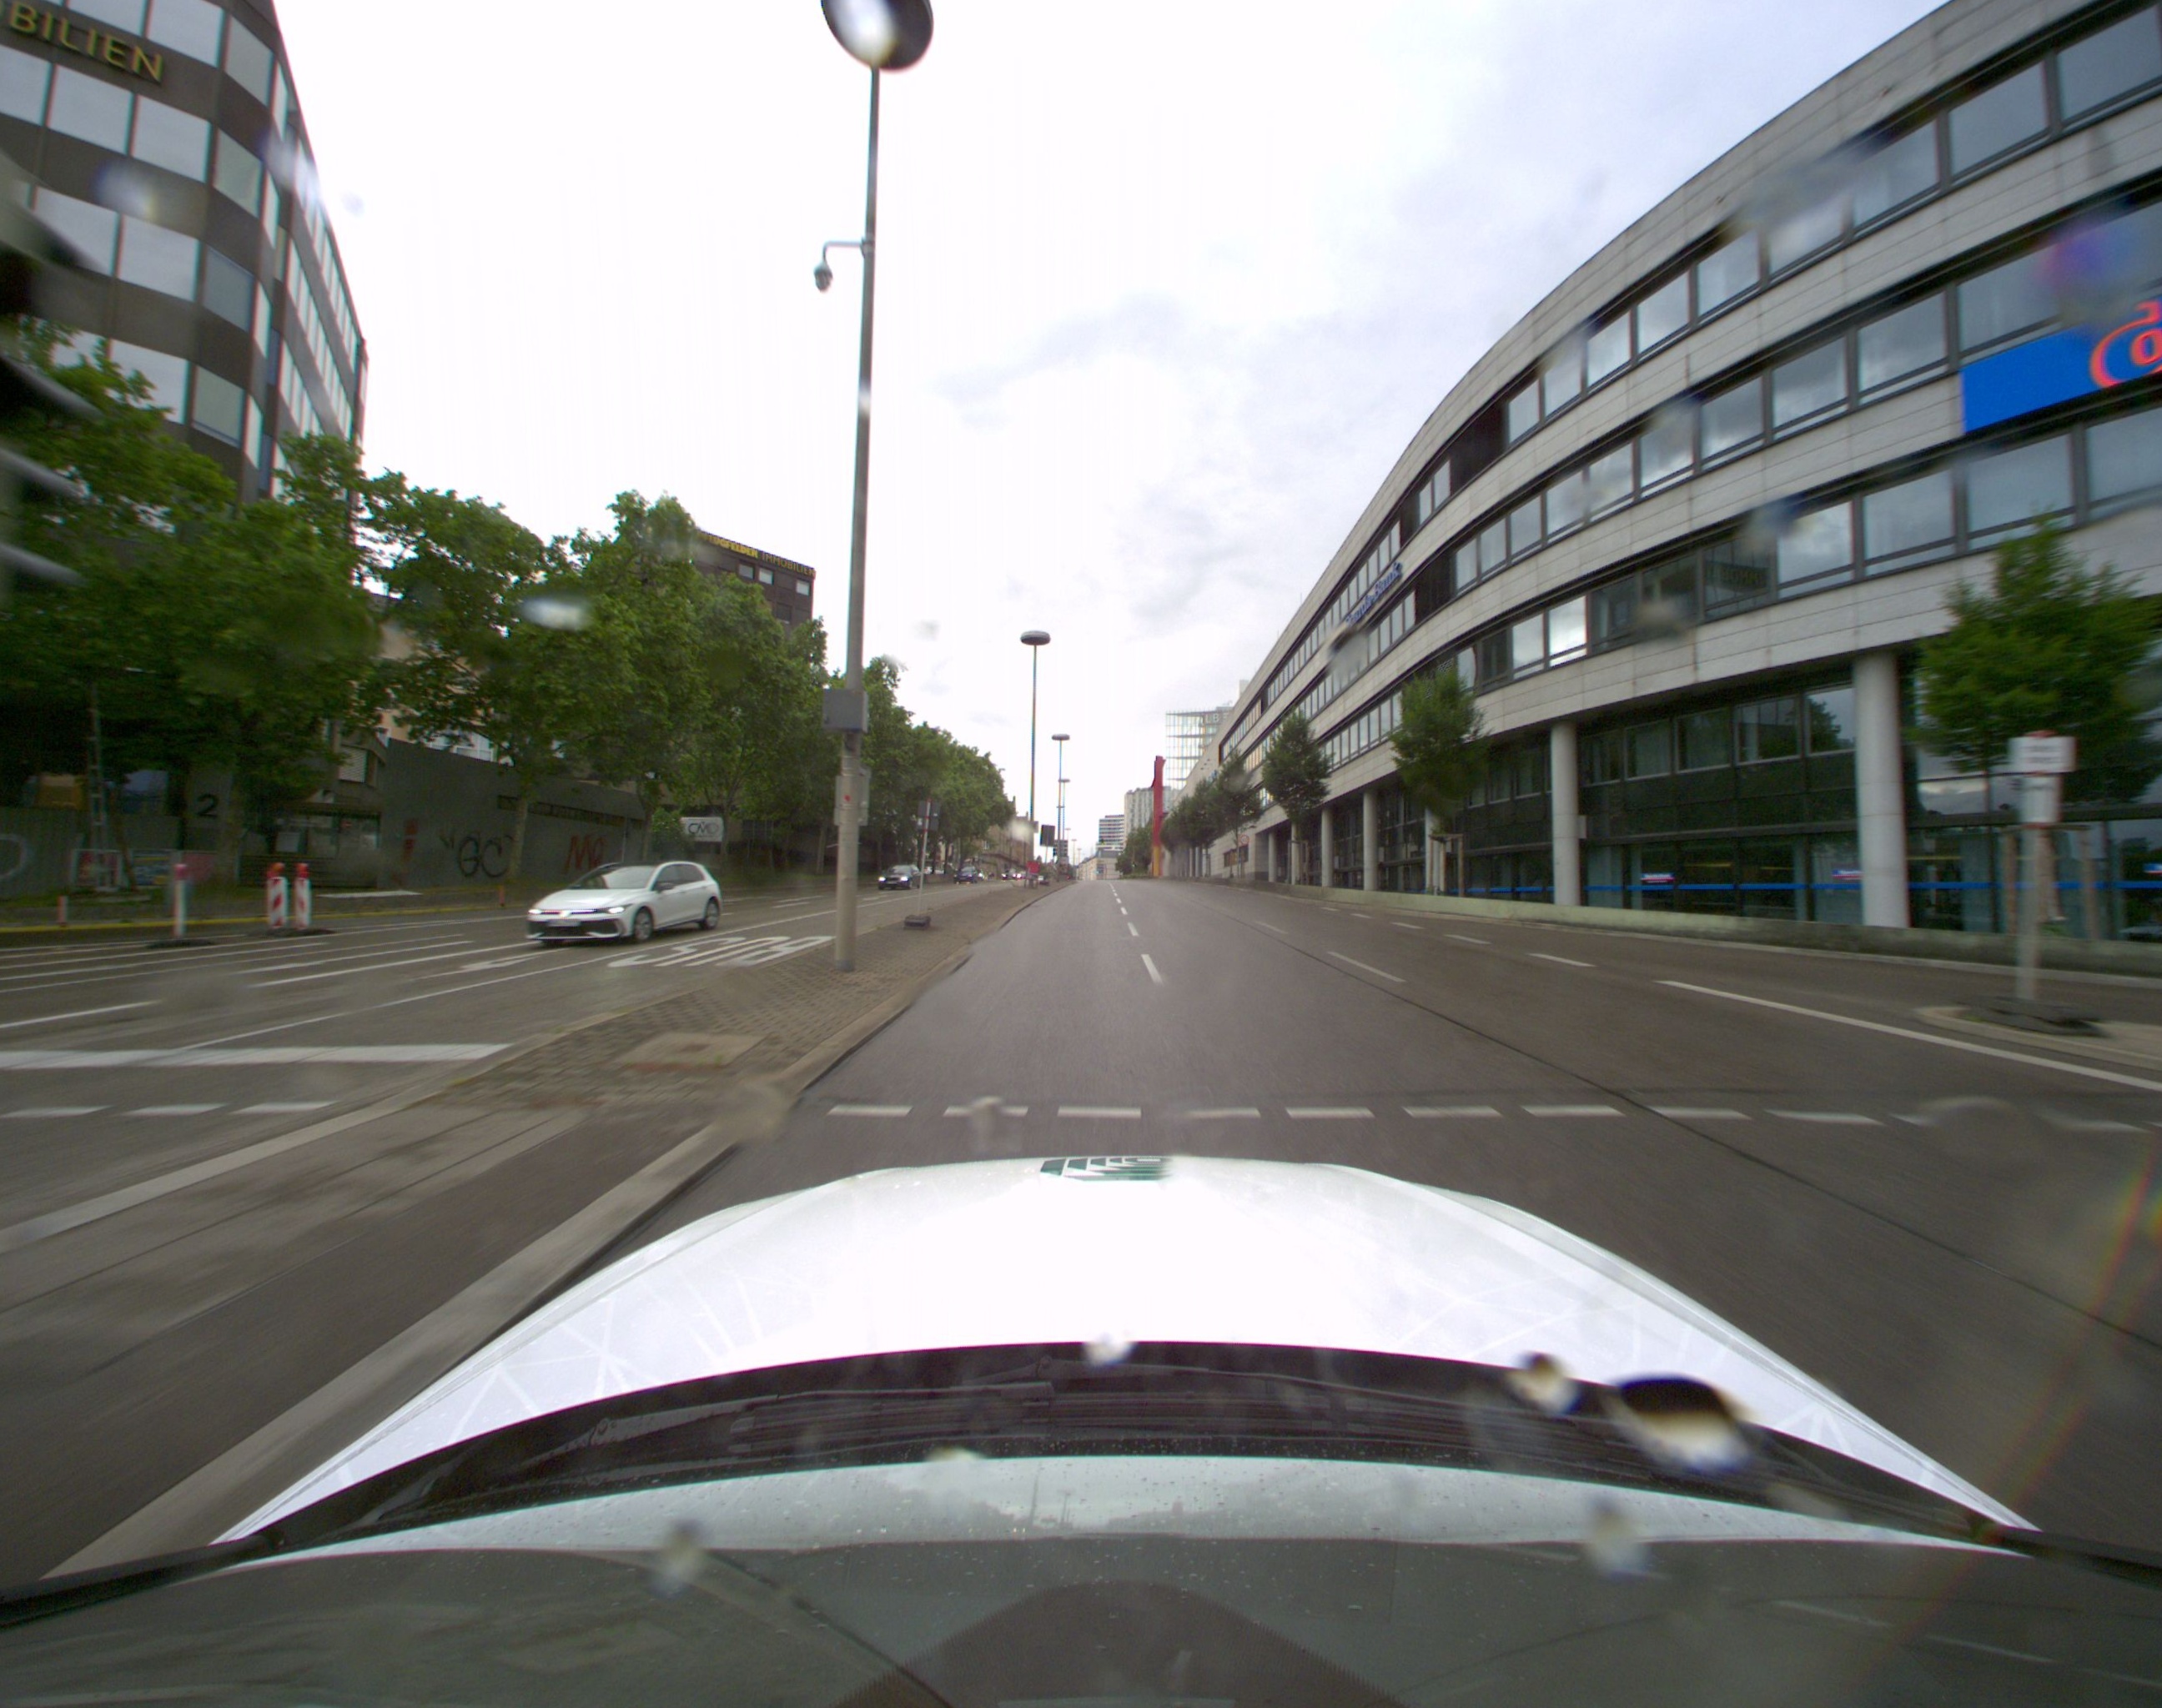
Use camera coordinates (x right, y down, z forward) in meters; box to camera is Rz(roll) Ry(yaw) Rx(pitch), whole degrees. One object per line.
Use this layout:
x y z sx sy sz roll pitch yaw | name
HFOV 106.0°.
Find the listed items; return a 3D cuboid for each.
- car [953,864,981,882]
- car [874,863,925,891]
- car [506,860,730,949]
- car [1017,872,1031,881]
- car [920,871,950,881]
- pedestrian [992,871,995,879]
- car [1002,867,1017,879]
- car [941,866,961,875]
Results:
-9.683 1.615 69.383 1.602 1.473 4.070 0 -1 3 | car
-10.053 1.222 45.371 1.801 1.448 4.340 -1 0 1 | car
-8.667 0.854 15.769 1.754 1.461 4.361 -1 0 1 | car
-9.719 3.894 139.396 1.811 1.403 4.003 -1 -3 4 | car
-23.314 3.512 129.950 1.802 1.511 4.606 -4 -4 39 | car
-17.266 4.193 160.716 0.496 1.611 0.500 0 -3 4 | pedestrian
-9.086 2.398 103.235 1.682 1.410 3.996 -1 -2 -2 | car
-25.005 3.230 157.077 3.619 1.701 1.824 -1 -3 -2 | car
